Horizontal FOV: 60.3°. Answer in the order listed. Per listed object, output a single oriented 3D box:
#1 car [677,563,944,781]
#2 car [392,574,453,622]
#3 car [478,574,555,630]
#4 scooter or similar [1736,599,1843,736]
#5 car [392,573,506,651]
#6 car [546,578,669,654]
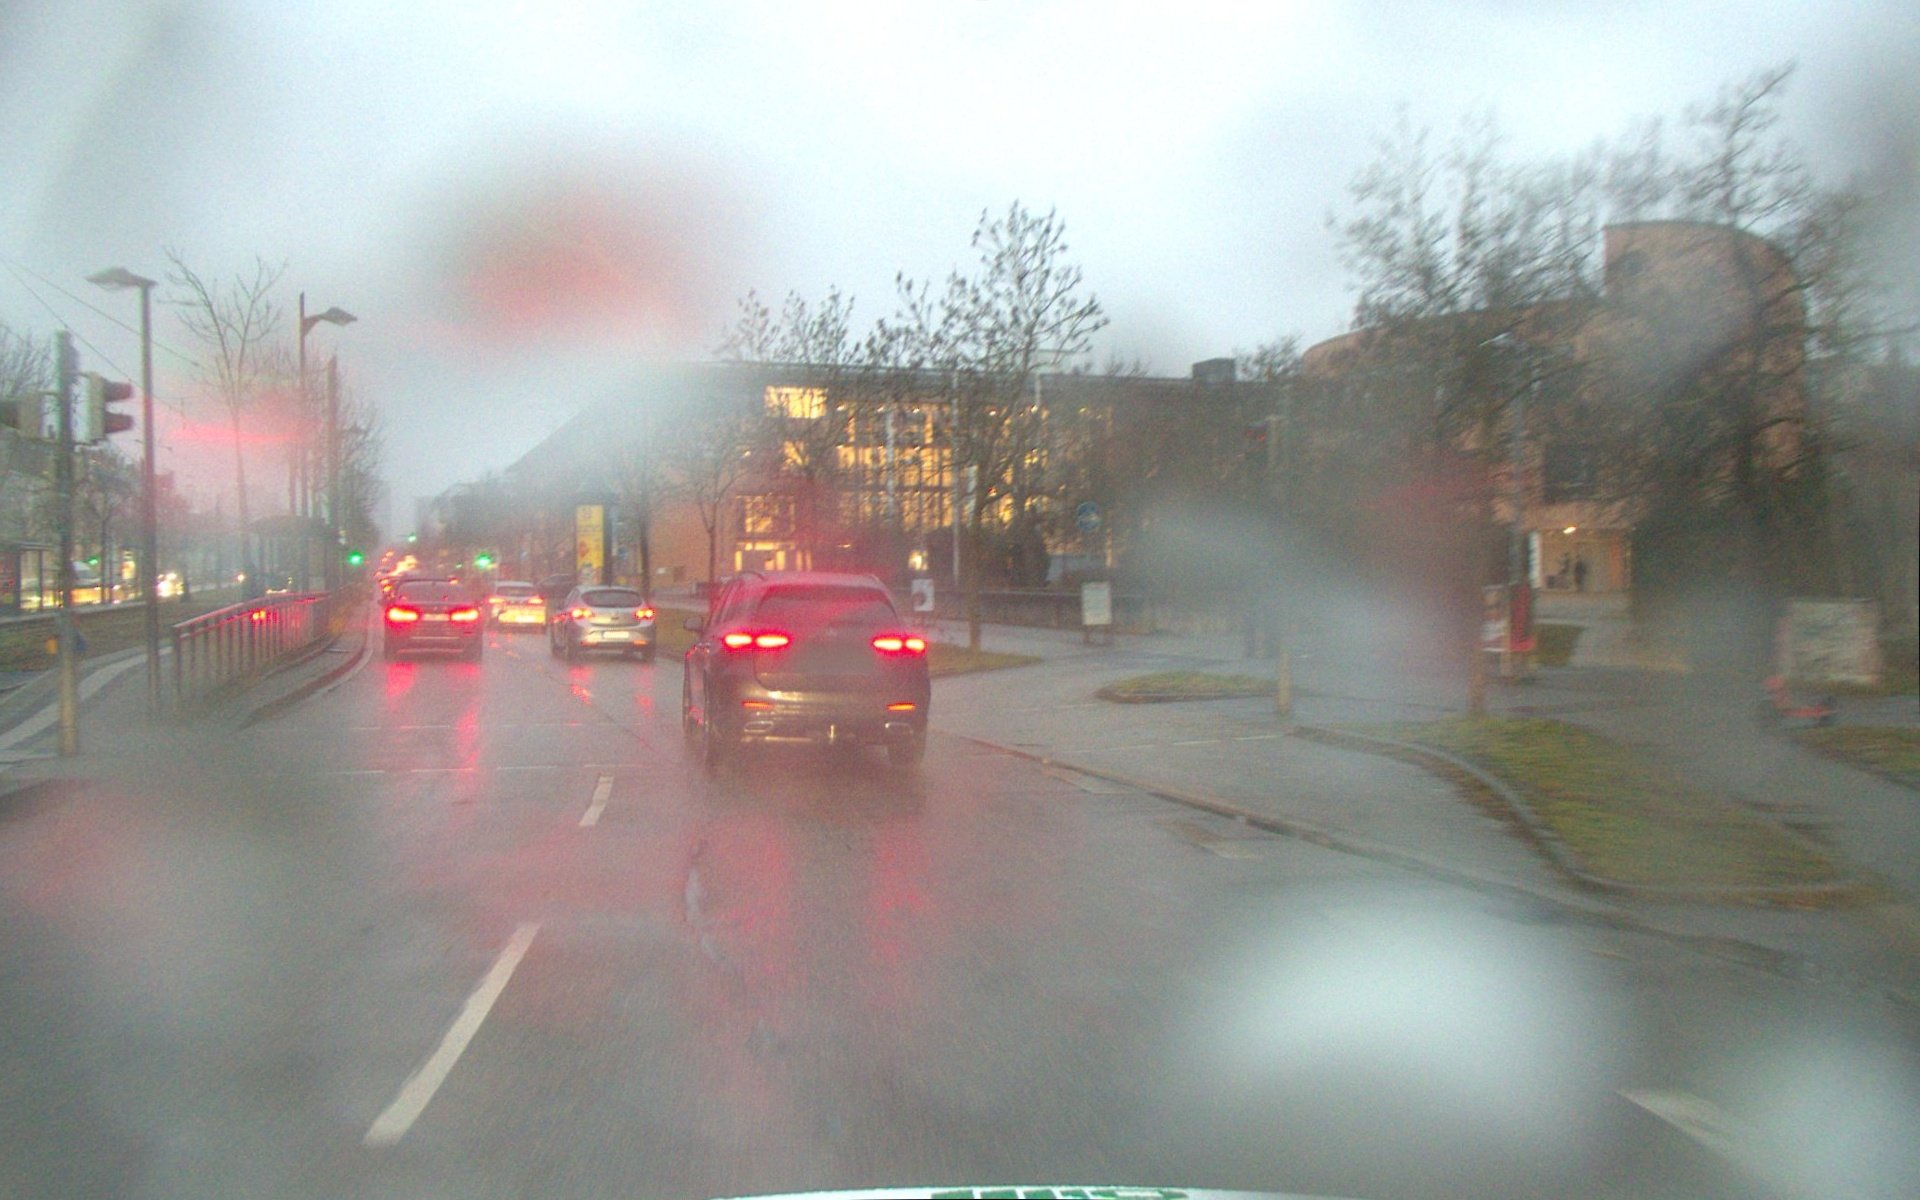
[{"bbox_3d":[-1.475,0.508,14.776,1.955,1.644,3.989,-1,1,-11],"label":"car"},{"bbox_3d":[-19.572,-0.091,60.113,1.964,1.646,3.976,-1,1,-20],"label":"car"},{"bbox_3d":[-13.879,0.036,51.600,1.964,1.646,3.976,-1,1,-20],"label":"car"},{"bbox_3d":[8.046,0.632,16.031,1.133,1.253,0.481,-1,1,-37],"label":"scooter or similar"},{"bbox_3d":[-10.290,0.195,33.124,1.964,1.422,3.976,-1,1,-20],"label":"car"},{"bbox_3d":[-7.364,0.271,34.298,1.964,1.432,3.976,-1,1,-20],"label":"car"}]
